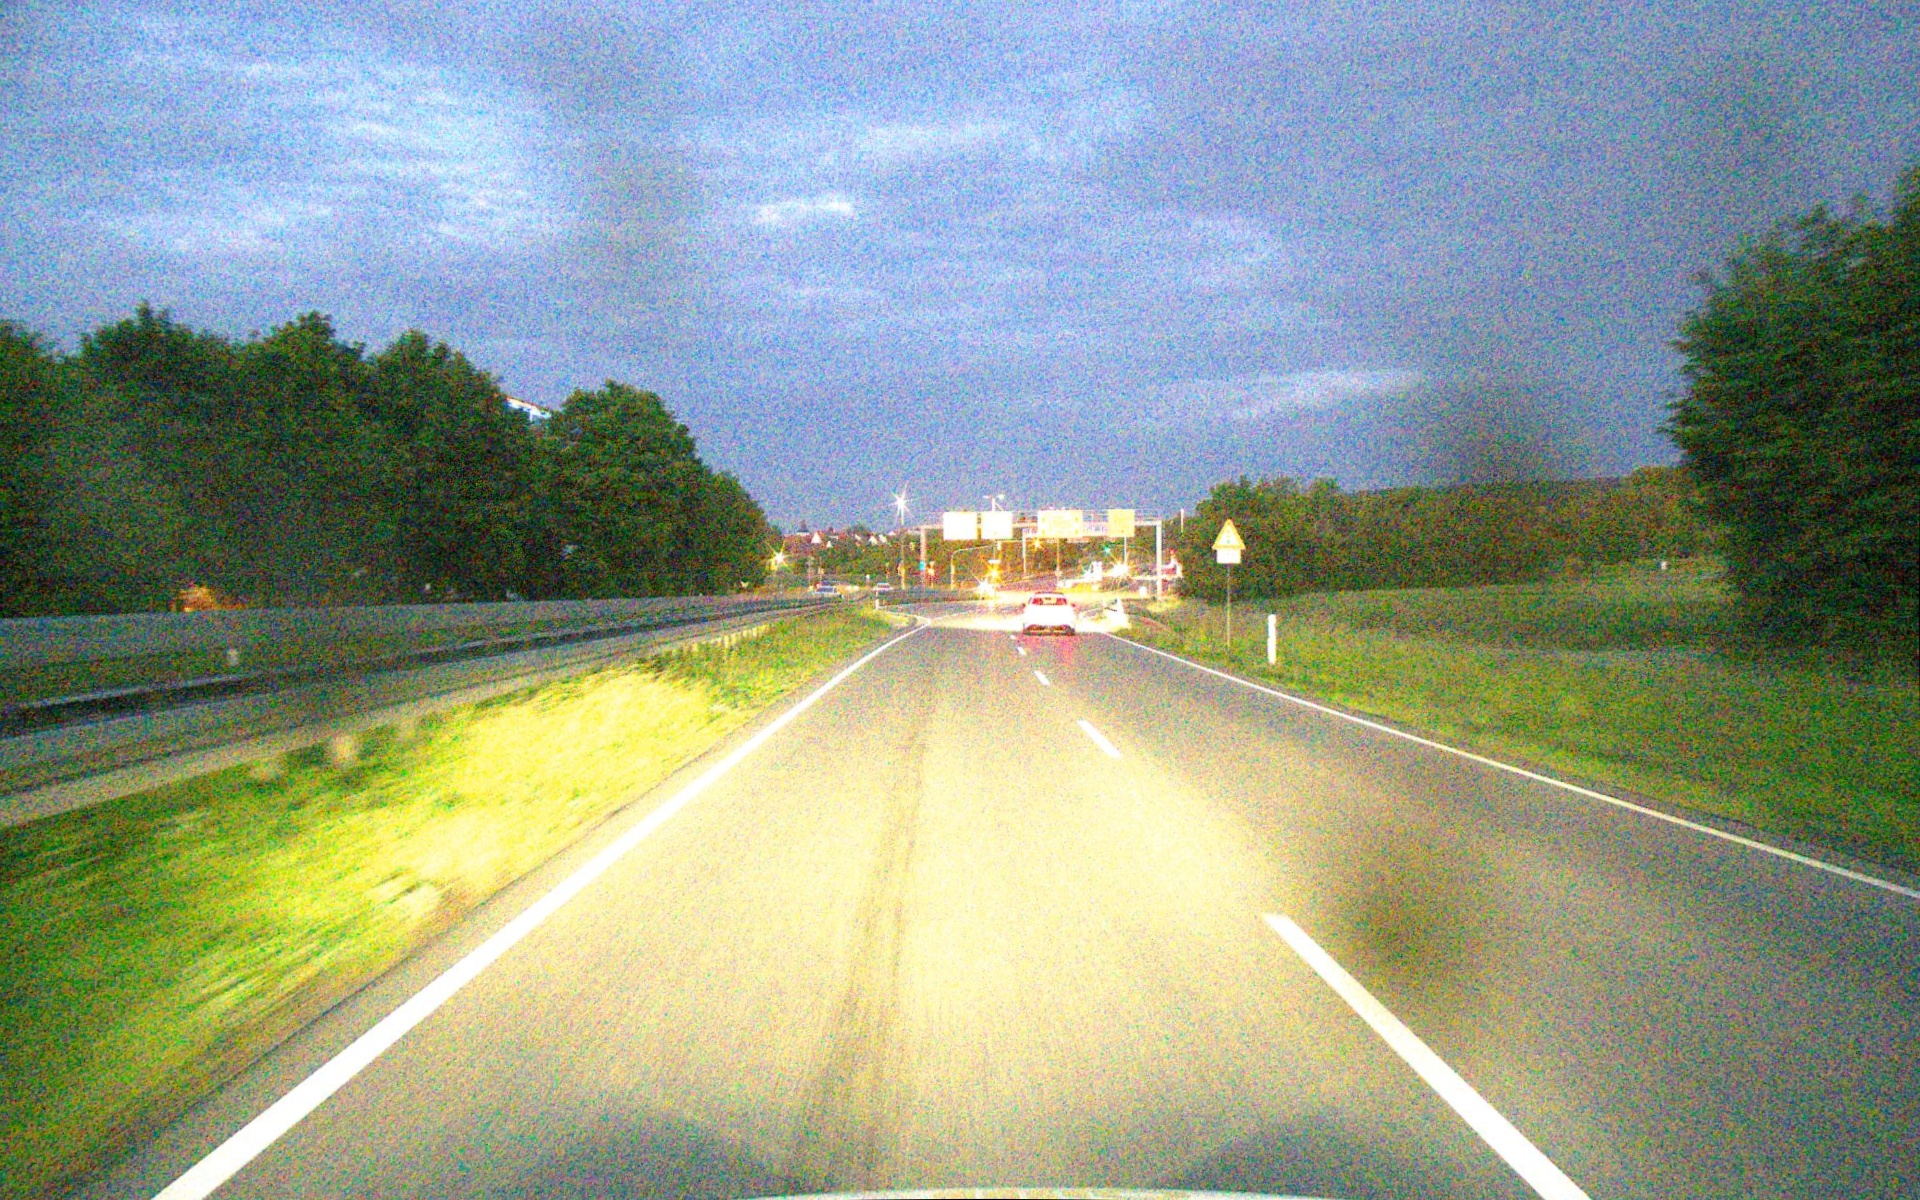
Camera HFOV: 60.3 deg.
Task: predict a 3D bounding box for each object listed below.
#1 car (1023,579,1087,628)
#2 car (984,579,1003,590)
[{"bbox_3d":[3.249,0.105,57.164,1.966,1.639,3.845,0,0,-1],"label":"car"},{"bbox_3d":[4.637,-2.100,229.355,1.951,1.450,4.536,1,1,10],"label":"car"}]
